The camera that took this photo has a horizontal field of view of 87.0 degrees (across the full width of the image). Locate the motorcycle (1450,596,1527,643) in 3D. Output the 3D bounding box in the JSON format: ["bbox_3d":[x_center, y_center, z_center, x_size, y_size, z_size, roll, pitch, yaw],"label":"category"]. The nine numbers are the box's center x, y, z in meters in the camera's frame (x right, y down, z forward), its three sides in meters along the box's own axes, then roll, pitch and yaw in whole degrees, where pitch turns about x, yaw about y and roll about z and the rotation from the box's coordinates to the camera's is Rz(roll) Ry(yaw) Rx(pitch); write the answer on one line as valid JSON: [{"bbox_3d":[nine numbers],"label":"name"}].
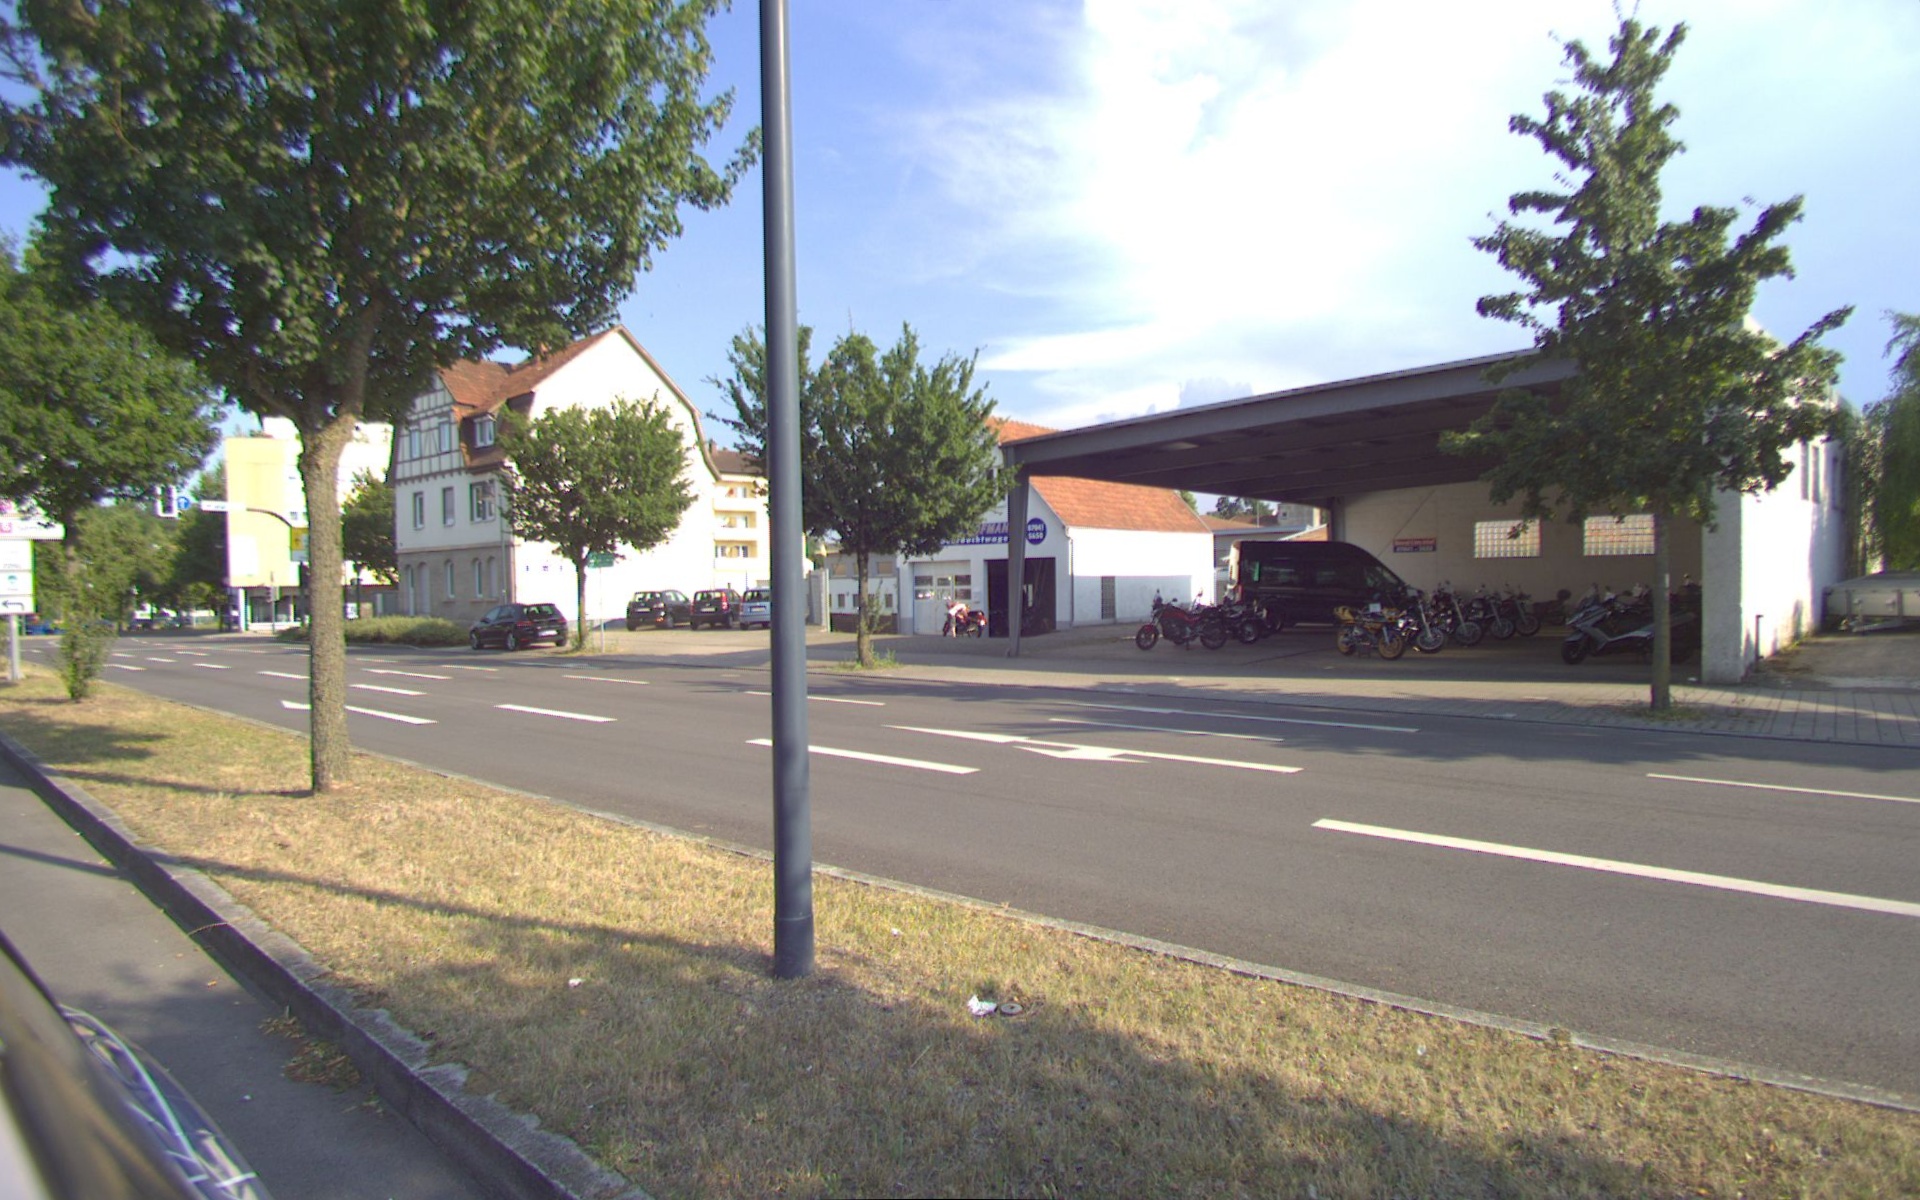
[{"bbox_3d":[13.153,0.470,25.253,0.542,1.107,2.052,-1,0,-9],"label":"motorcycle"}]

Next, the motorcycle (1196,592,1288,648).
[{"bbox_3d":[6.923,0.487,24.915,2.095,1.332,0.487,-1,0,9],"label":"motorcycle"}]

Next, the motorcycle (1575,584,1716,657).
[{"bbox_3d":[12.699,0.382,18.798,2.074,1.310,0.523,-1,0,15],"label":"motorcycle"}]

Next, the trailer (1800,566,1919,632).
[{"bbox_3d":[17.722,-0.054,18.949,3.312,1.121,2.174,-2,1,-33],"label":"trailer"}]

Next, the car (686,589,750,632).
[{"bbox_3d":[-9.352,0.393,39.338,1.566,1.576,3.429,-1,0,2],"label":"car"}]

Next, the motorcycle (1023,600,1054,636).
[{"bbox_3d":[3.051,0.686,39.160,0.485,1.332,2.102,-2,0,24],"label":"motorcycle"}]

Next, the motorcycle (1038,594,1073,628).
[{"bbox_3d":[3.932,0.428,41.584,0.487,1.332,2.096,-2,0,32],"label":"motorcycle"}]

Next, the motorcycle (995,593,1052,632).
[{"bbox_3d":[2.337,0.451,36.913,2.082,1.332,0.490,-1,0,-27],"label":"motorcycle"}]

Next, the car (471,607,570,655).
[{"bbox_3d":[-13.938,0.950,32.043,3.433,1.327,1.650,0,3,44],"label":"car"}]

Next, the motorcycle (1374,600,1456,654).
[{"bbox_3d":[9.773,0.561,21.809,0.542,1.107,2.052,-1,0,-9],"label":"motorcycle"}]

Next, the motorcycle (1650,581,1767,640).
[{"bbox_3d":[17.151,0.249,23.244,2.074,1.310,0.523,-1,0,15],"label":"motorcycle"}]

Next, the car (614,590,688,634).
[{"bbox_3d":[-12.004,0.435,39.507,1.836,1.638,3.410,-1,0,0],"label":"car"}]

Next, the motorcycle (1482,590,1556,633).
[{"bbox_3d":[14.857,0.296,26.975,0.542,1.107,2.052,-1,0,-9],"label":"motorcycle"}]

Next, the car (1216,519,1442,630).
[{"bbox_3d":[10.680,-0.701,29.842,5.734,2.982,2.670,-1,0,9],"label":"car"}]

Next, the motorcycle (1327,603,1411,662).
[{"bbox_3d":[8.127,0.619,20.210,0.542,1.107,2.052,-1,0,-9],"label":"motorcycle"}]

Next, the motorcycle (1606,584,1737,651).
[{"bbox_3d":[14.350,0.354,20.456,2.074,1.310,0.523,-1,0,15],"label":"motorcycle"}]

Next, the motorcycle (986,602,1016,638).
[{"bbox_3d":[1.618,0.749,39.351,0.485,1.332,2.104,-1,0,21],"label":"motorcycle"}]

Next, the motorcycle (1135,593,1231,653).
[{"bbox_3d":[5.117,0.524,23.291,2.096,1.332,0.487,-1,0,11],"label":"motorcycle"}]

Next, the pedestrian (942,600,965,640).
[{"bbox_3d":[-0.221,0.690,34.921,0.583,1.350,0.589,-1,0,34],"label":"pedestrian"}]

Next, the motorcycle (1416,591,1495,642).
[{"bbox_3d":[11.501,0.375,23.573,0.542,1.107,2.052,-1,0,-9],"label":"motorcycle"}]

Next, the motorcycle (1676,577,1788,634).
[{"bbox_3d":[18.727,0.136,24.594,2.074,1.310,0.523,-1,0,15],"label":"motorcycle"}]

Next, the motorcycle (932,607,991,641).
[{"bbox_3d":[0.039,0.828,35.329,2.114,1.155,0.483,-2,0,35],"label":"motorcycle"}]

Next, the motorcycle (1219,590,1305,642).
[{"bbox_3d":[7.960,0.418,26.741,2.090,1.332,0.488,-1,0,1],"label":"motorcycle"}]

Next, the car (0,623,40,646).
[{"bbox_3d":[-83.096,3.035,89.303,1.786,1.886,4.013,-1,0,-27],"label":"car"}]

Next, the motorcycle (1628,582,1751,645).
[{"bbox_3d":[15.810,0.298,21.980,2.074,1.310,0.523,-1,0,15],"label":"motorcycle"}]

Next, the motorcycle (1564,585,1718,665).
[{"bbox_3d":[11.532,0.428,17.192,2.074,1.310,0.523,-1,0,15],"label":"motorcycle"}]

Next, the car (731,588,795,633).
[{"bbox_3d":[-7.281,0.386,37.631,1.599,1.555,3.429,-1,0,2],"label":"car"}]

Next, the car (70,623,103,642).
[{"bbox_3d":[-99.545,3.656,115.364,1.789,2.029,4.013,-1,0,-25],"label":"car"}]
